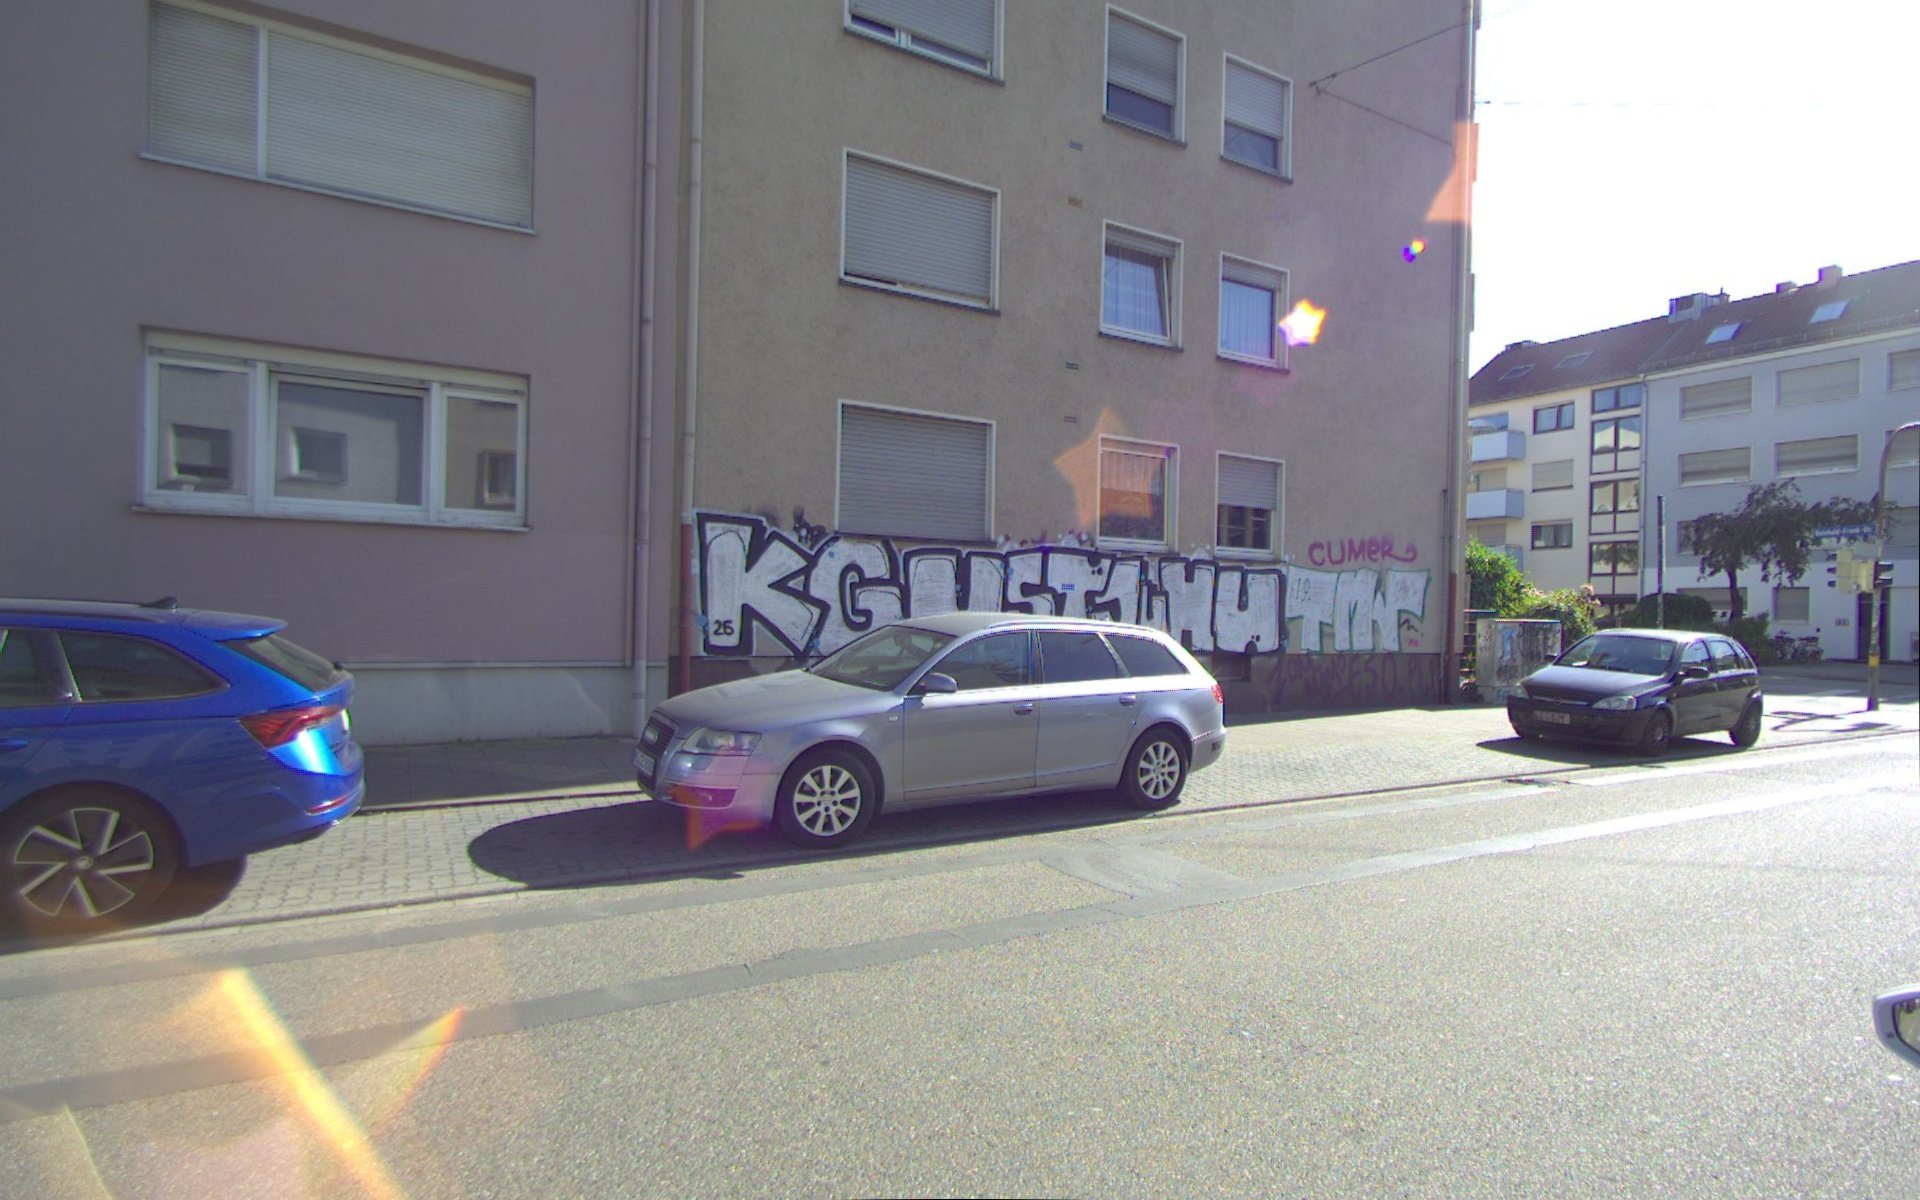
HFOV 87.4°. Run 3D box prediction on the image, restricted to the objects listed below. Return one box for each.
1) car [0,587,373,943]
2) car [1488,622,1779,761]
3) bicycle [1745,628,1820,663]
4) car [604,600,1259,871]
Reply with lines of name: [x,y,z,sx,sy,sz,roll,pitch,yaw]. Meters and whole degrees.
car: [-5.354,0.691,4.598,4.559,1.485,1.708,1,2,-31]
car: [8.628,1.077,12.821,3.667,1.444,1.608,1,2,-31]
bicycle: [29.737,1.633,36.362,2.068,1.188,0.738,0,-1,37]
car: [-0.070,0.825,7.679,4.759,1.485,1.708,1,2,-31]
